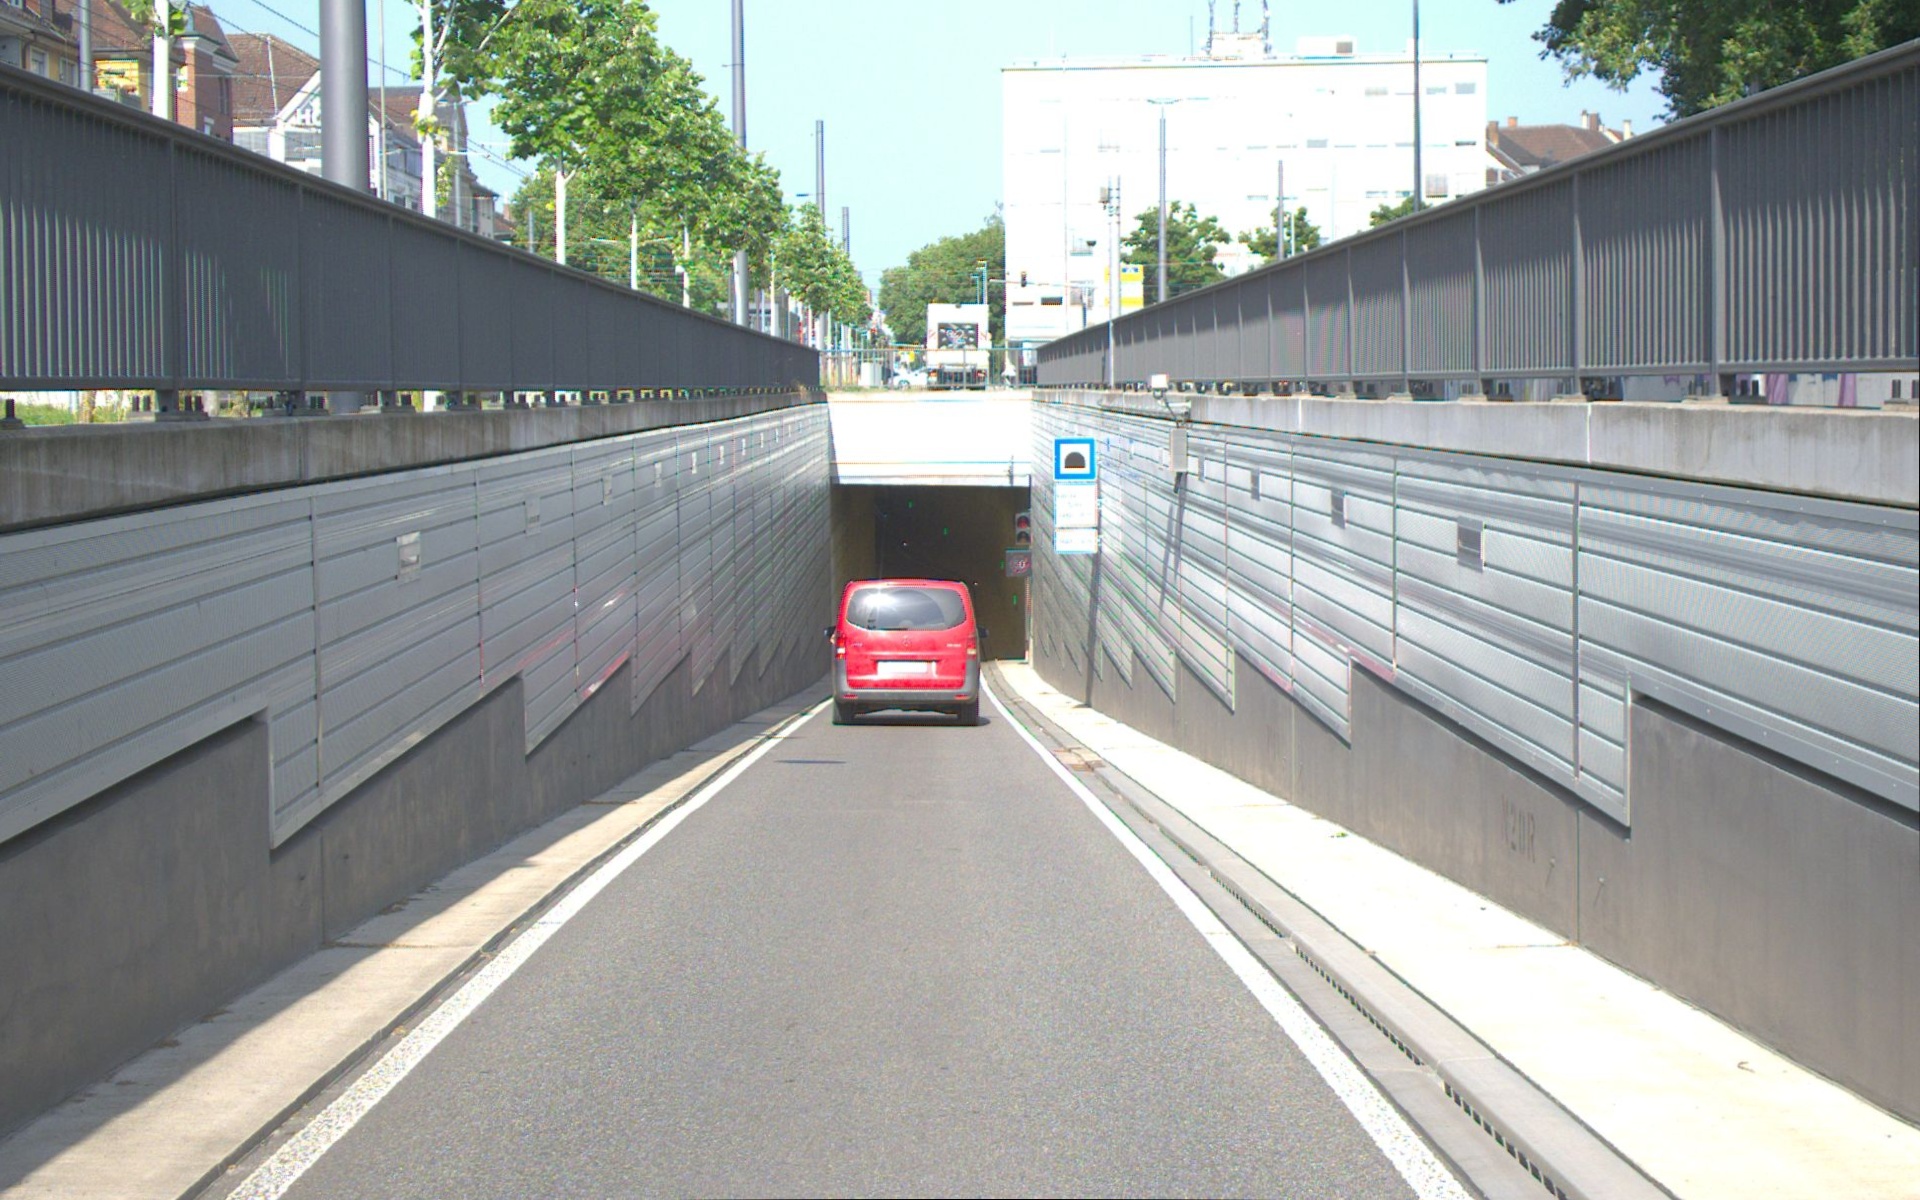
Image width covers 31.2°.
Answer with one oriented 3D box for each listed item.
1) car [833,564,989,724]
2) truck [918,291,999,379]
[{"bbox_3d":[-0.638,0.527,44.909,1.901,1.853,4.001,1,2,-1],"label":"car"},{"bbox_3d":[-0.122,-11.688,152.440,3.391,3.713,10.454,-1,4,-1],"label":"truck"}]
